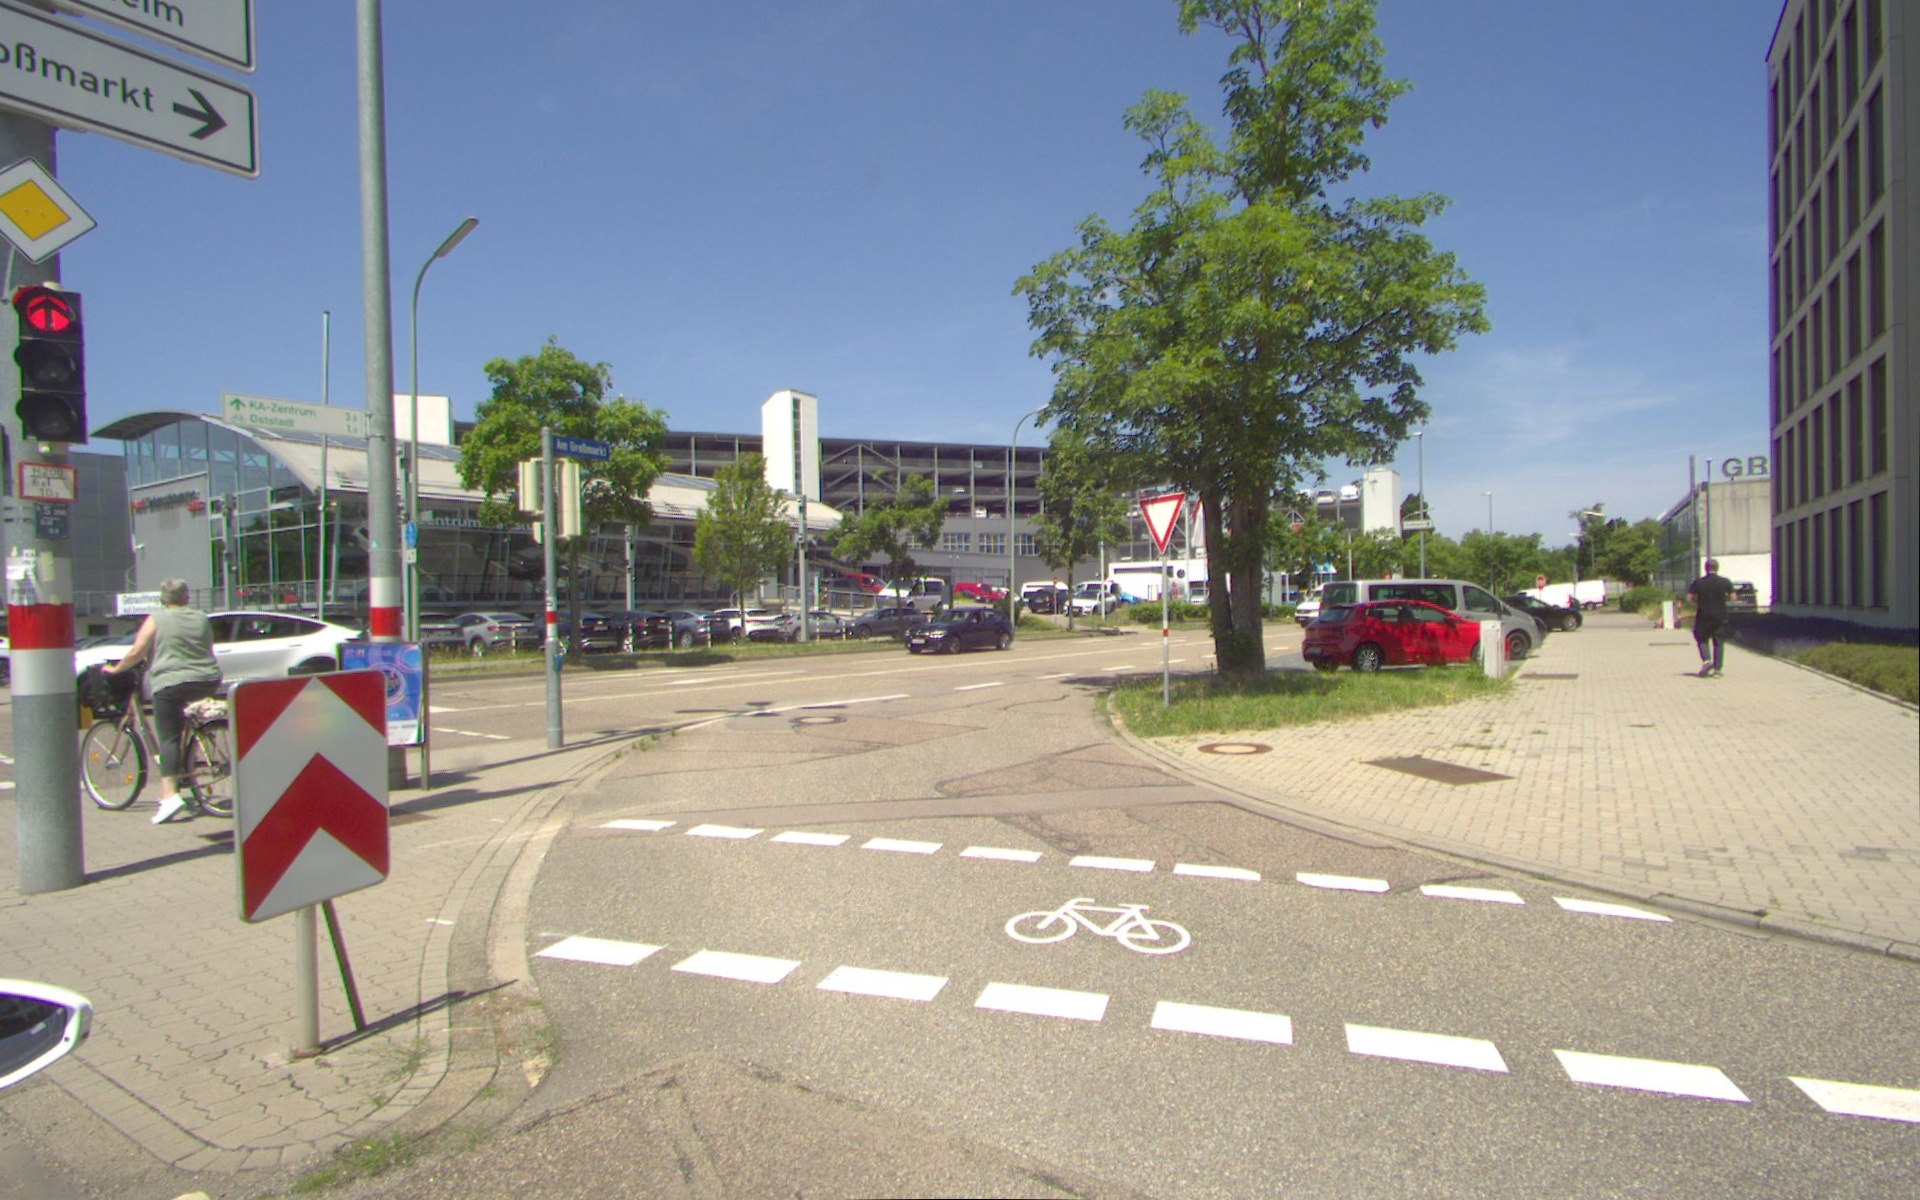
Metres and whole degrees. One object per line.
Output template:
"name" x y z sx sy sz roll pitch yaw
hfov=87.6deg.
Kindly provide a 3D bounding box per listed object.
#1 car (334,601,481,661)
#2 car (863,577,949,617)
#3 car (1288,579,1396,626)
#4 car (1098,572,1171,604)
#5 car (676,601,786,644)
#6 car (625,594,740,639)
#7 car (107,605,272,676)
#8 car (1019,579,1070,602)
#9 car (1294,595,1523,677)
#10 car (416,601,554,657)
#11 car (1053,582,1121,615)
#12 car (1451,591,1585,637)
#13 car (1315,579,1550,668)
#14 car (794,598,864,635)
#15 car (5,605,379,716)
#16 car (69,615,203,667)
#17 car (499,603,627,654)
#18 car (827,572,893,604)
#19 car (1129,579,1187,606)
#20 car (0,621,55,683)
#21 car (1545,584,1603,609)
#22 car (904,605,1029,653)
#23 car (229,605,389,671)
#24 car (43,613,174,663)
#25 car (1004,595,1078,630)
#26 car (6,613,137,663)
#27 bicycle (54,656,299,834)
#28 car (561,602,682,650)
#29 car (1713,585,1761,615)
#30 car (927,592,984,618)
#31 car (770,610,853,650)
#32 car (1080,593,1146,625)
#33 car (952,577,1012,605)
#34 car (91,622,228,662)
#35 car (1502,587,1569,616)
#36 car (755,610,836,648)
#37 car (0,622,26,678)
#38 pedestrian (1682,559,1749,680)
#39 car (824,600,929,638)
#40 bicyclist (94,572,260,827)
"car" -16.620 0.894 30.076 4.377 1.662 1.989 0 1 32
"car" -2.819 -0.143 53.752 1.972 2.040 5.117 -1 0 32
"car" 21.291 0.142 55.787 5.704 2.567 2.096 0 0 -22
"car" 11.980 -0.805 68.874 4.578 2.040 1.989 -1 0 32
"car" -9.454 0.899 41.282 4.410 1.662 1.823 0 1 32
"car" -10.849 0.637 39.012 4.410 1.662 1.823 0 1 32
"car" -19.520 0.965 25.346 4.207 1.661 1.989 0 0 32
"car" 7.815 -0.832 92.249 4.257 2.040 1.989 -1 0 32
"car" 8.948 0.695 20.097 3.924 1.454 1.609 -2 0 -8
"car" -15.215 0.893 32.037 4.460 1.662 1.881 0 1 32
"car" 8.222 -0.092 64.934 3.943 2.040 1.840 -1 0 32
"car" 21.508 0.554 38.694 4.075 1.558 1.815 -3 -1 2
"car" 10.913 0.522 23.243 4.814 1.839 1.704 -2 0 -10
"car" -7.550 0.929 58.082 1.839 2.040 3.733 -1 0 41
"car" -12.702 0.904 16.858 1.975 1.609 4.662 -1 -1 38
"car" -34.900 1.702 42.493 1.972 2.040 3.977 -1 0 33
"car" -13.696 0.944 34.474 4.410 1.662 1.823 0 1 32
"car" -6.729 -0.770 67.297 3.937 2.040 1.992 -1 0 27
"car" 15.483 -0.581 78.271 3.945 2.040 1.988 -1 0 34
"car" -25.151 1.304 24.071 1.972 1.476 4.729 0 0 34
"car" 55.242 -0.324 90.160 4.304 2.149 2.080 -1 0 36
"car" 0.268 0.900 32.227 1.654 1.429 4.200 0 0 42
"car" -17.932 0.981 27.534 4.492 1.661 1.989 0 0 32
"car" -37.280 1.631 43.925 1.972 2.040 3.977 -1 0 33
"car" 4.875 0.750 60.452 3.943 2.040 1.989 -1 0 32
"car" -39.390 1.630 44.469 1.972 2.040 3.977 -1 0 33
"bicycle" -5.925 1.022 7.555 1.891 1.142 0.786 0 0 29
"car" -12.377 0.931 36.535 4.410 1.661 1.824 0 0 32
"car" 42.295 -0.035 54.588 1.765 1.542 3.556 -1 0 33
"car" -0.350 0.372 74.069 3.943 1.810 1.730 -1 0 32
"car" -7.313 1.446 49.299 3.660 1.801 1.739 -1 0 -31
"car" 10.214 0.618 66.913 3.943 2.040 1.989 -1 0 32
"car" 1.708 -0.663 77.890 4.286 2.040 1.990 -1 0 30
"car" -32.926 1.696 41.295 1.694 1.480 4.083 0 0 33
"car" 41.667 0.133 72.519 3.949 2.040 1.986 -1 0 37
"car" -8.463 1.473 51.551 3.712 1.795 1.761 -1 0 -28
"car" -27.310 1.377 25.585 1.973 1.476 4.729 -2 -1 34
"pedestrian" 12.055 0.314 15.982 0.764 1.869 0.861 -2 0 40
"car" -3.933 0.877 47.594 4.702 1.662 1.821 -1 1 -35
"bicyclist" -5.832 0.703 7.472 0.742 1.772 0.733 0 0 28
